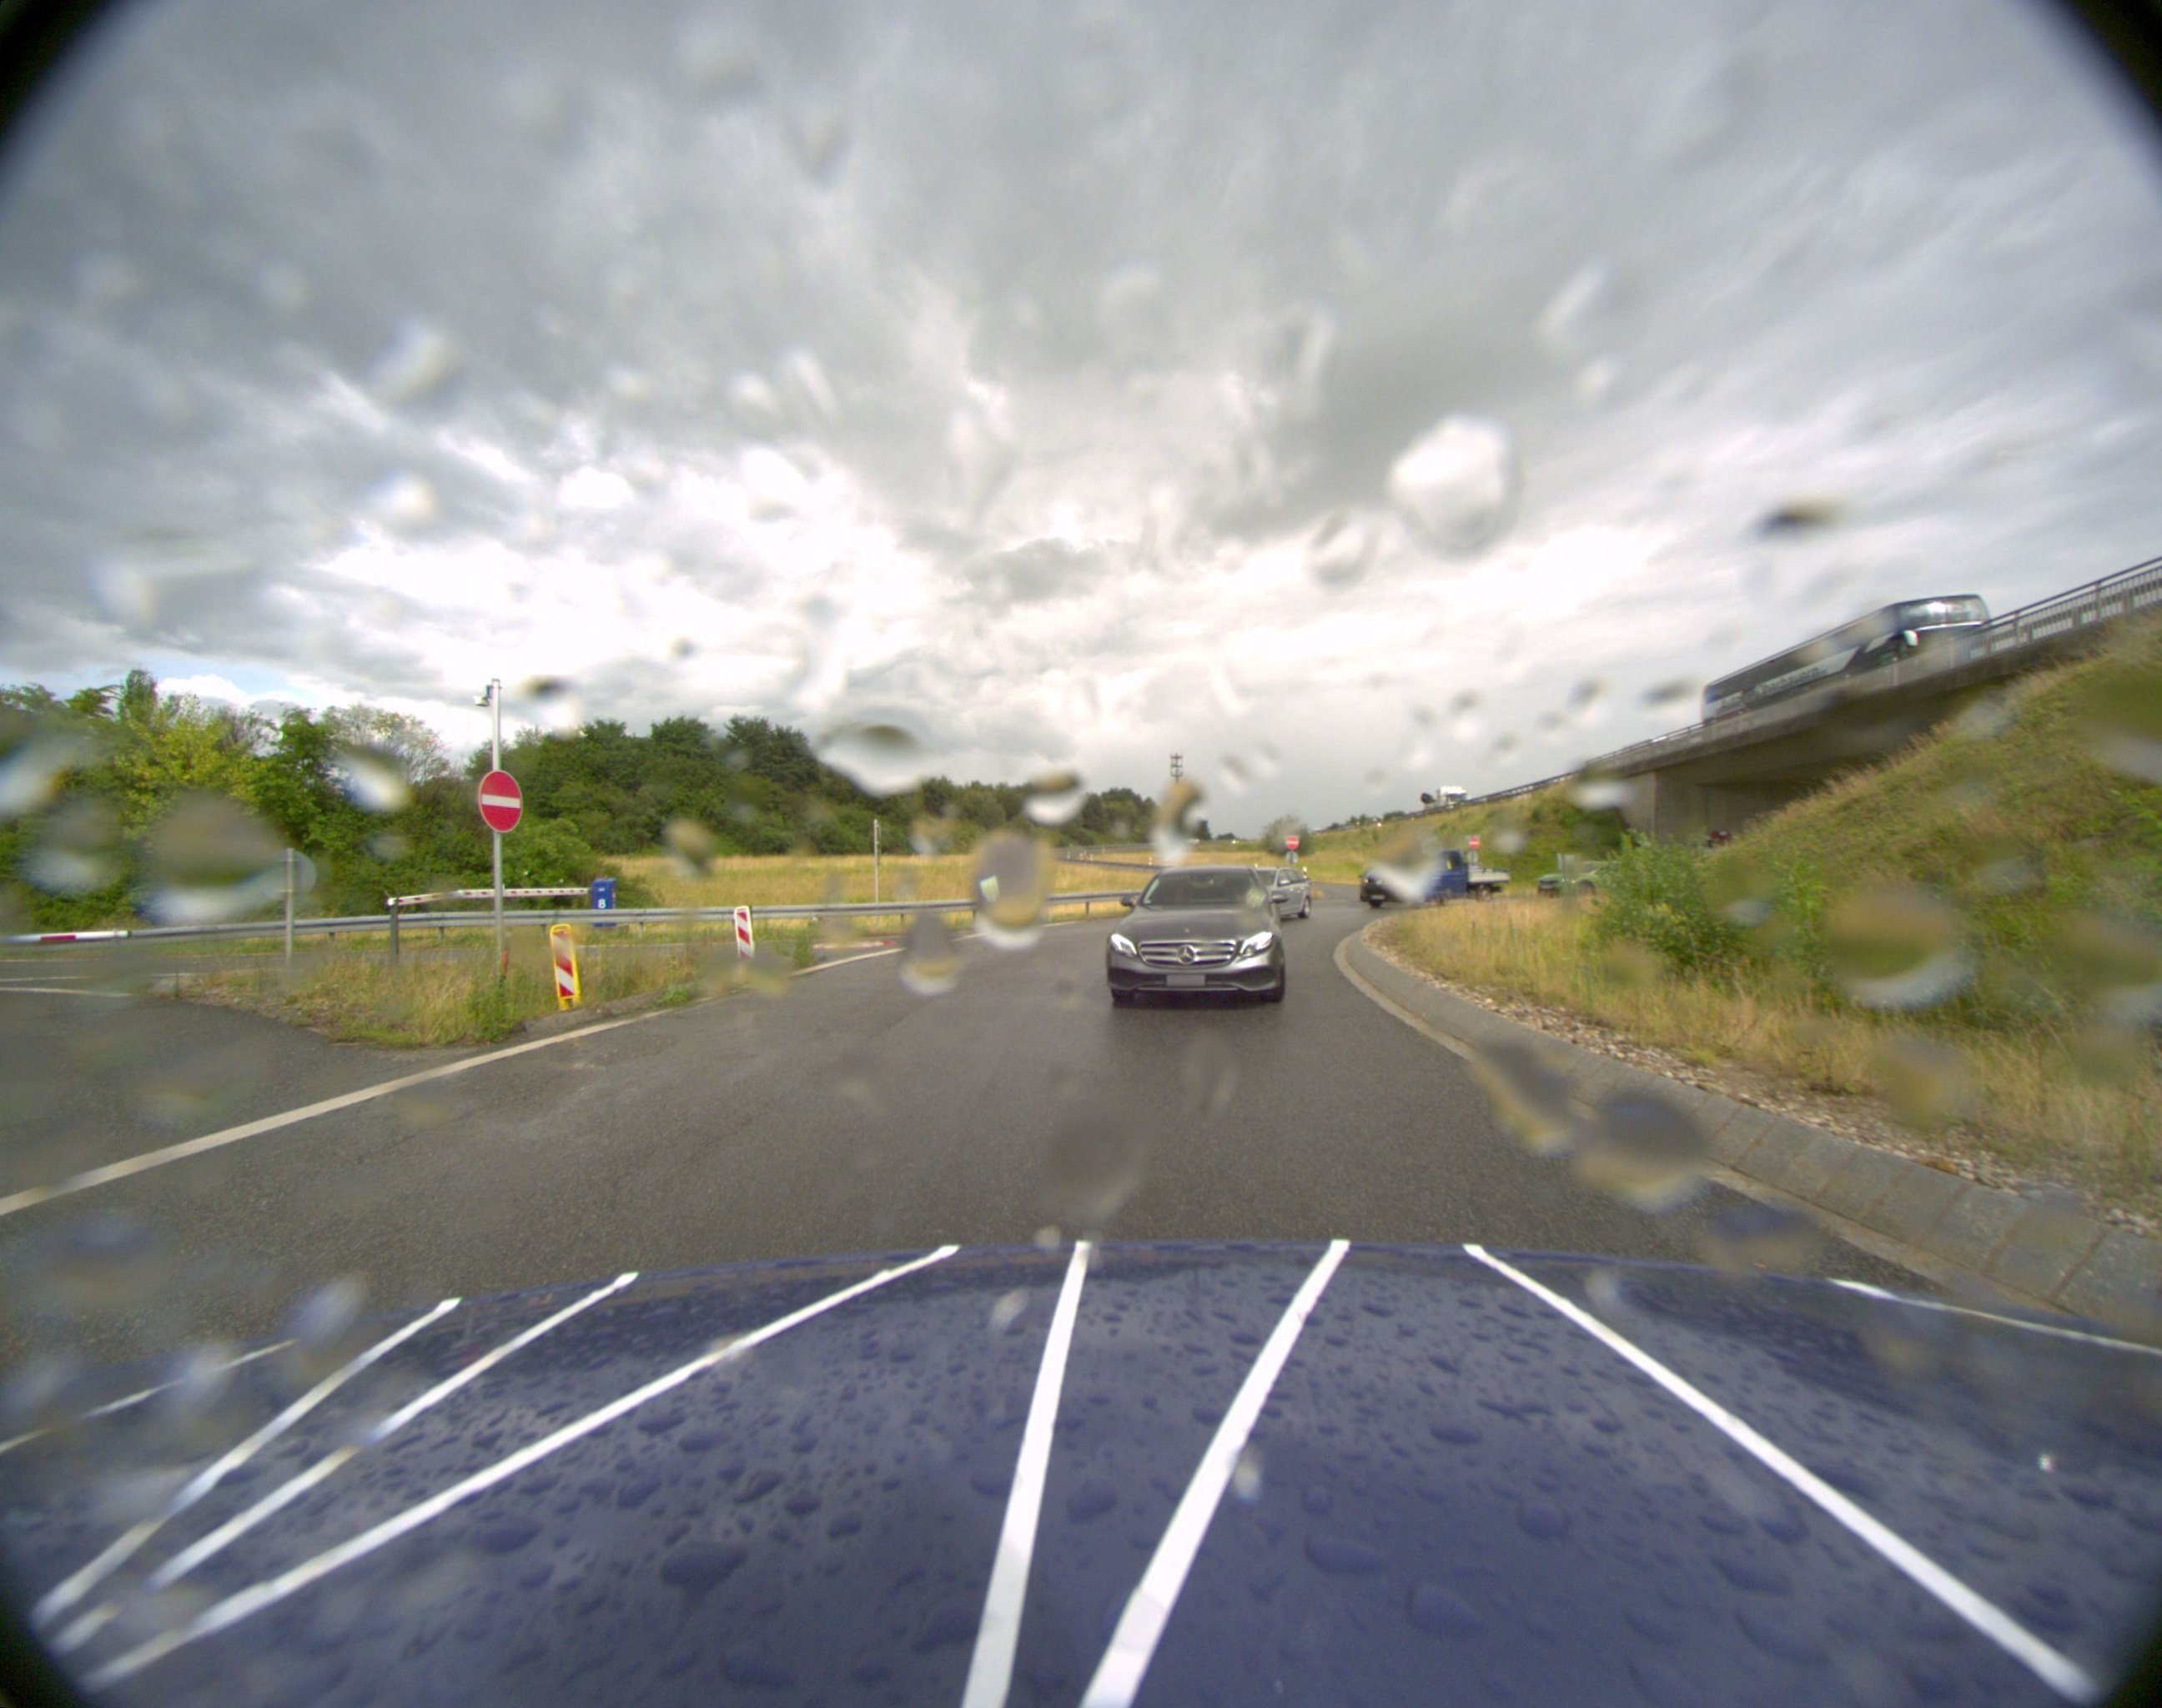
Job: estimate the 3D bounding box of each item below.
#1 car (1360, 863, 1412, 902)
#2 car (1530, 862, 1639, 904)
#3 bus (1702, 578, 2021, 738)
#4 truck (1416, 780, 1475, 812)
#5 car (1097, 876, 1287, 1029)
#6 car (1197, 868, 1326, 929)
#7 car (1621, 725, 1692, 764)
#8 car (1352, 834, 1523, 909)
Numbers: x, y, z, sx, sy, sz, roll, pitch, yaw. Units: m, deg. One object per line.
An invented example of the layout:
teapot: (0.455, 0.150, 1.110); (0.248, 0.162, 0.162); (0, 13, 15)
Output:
car: (12.331, 1.115, 30.895); (1.771, 1.476, 3.839); (0, 0, 19)
car: (19.473, 1.090, 29.387); (3.933, 1.528, 1.570); (0, 0, -22)
bus: (31.522, -7.541, 32.184); (2.608, 3.061, 14.481); (-2, 0, 16)
truck: (45.668, -7.150, 95.553); (3.158, 3.175, 9.280); (-2, 0, 1)
car: (1.470, 1.004, 9.489); (1.769, 1.383, 4.596); (-1, -1, 11)
car: (4.760, 1.065, 19.545); (1.793, 1.390, 4.359); (-2, -2, 34)
car: (36.615, -6.919, 48.461); (1.711, 1.517, 4.498); (-12, -2, 13)
car: (11.985, 0.549, 25.449); (5.688, 1.904, 1.890); (-5, 0, -26)
